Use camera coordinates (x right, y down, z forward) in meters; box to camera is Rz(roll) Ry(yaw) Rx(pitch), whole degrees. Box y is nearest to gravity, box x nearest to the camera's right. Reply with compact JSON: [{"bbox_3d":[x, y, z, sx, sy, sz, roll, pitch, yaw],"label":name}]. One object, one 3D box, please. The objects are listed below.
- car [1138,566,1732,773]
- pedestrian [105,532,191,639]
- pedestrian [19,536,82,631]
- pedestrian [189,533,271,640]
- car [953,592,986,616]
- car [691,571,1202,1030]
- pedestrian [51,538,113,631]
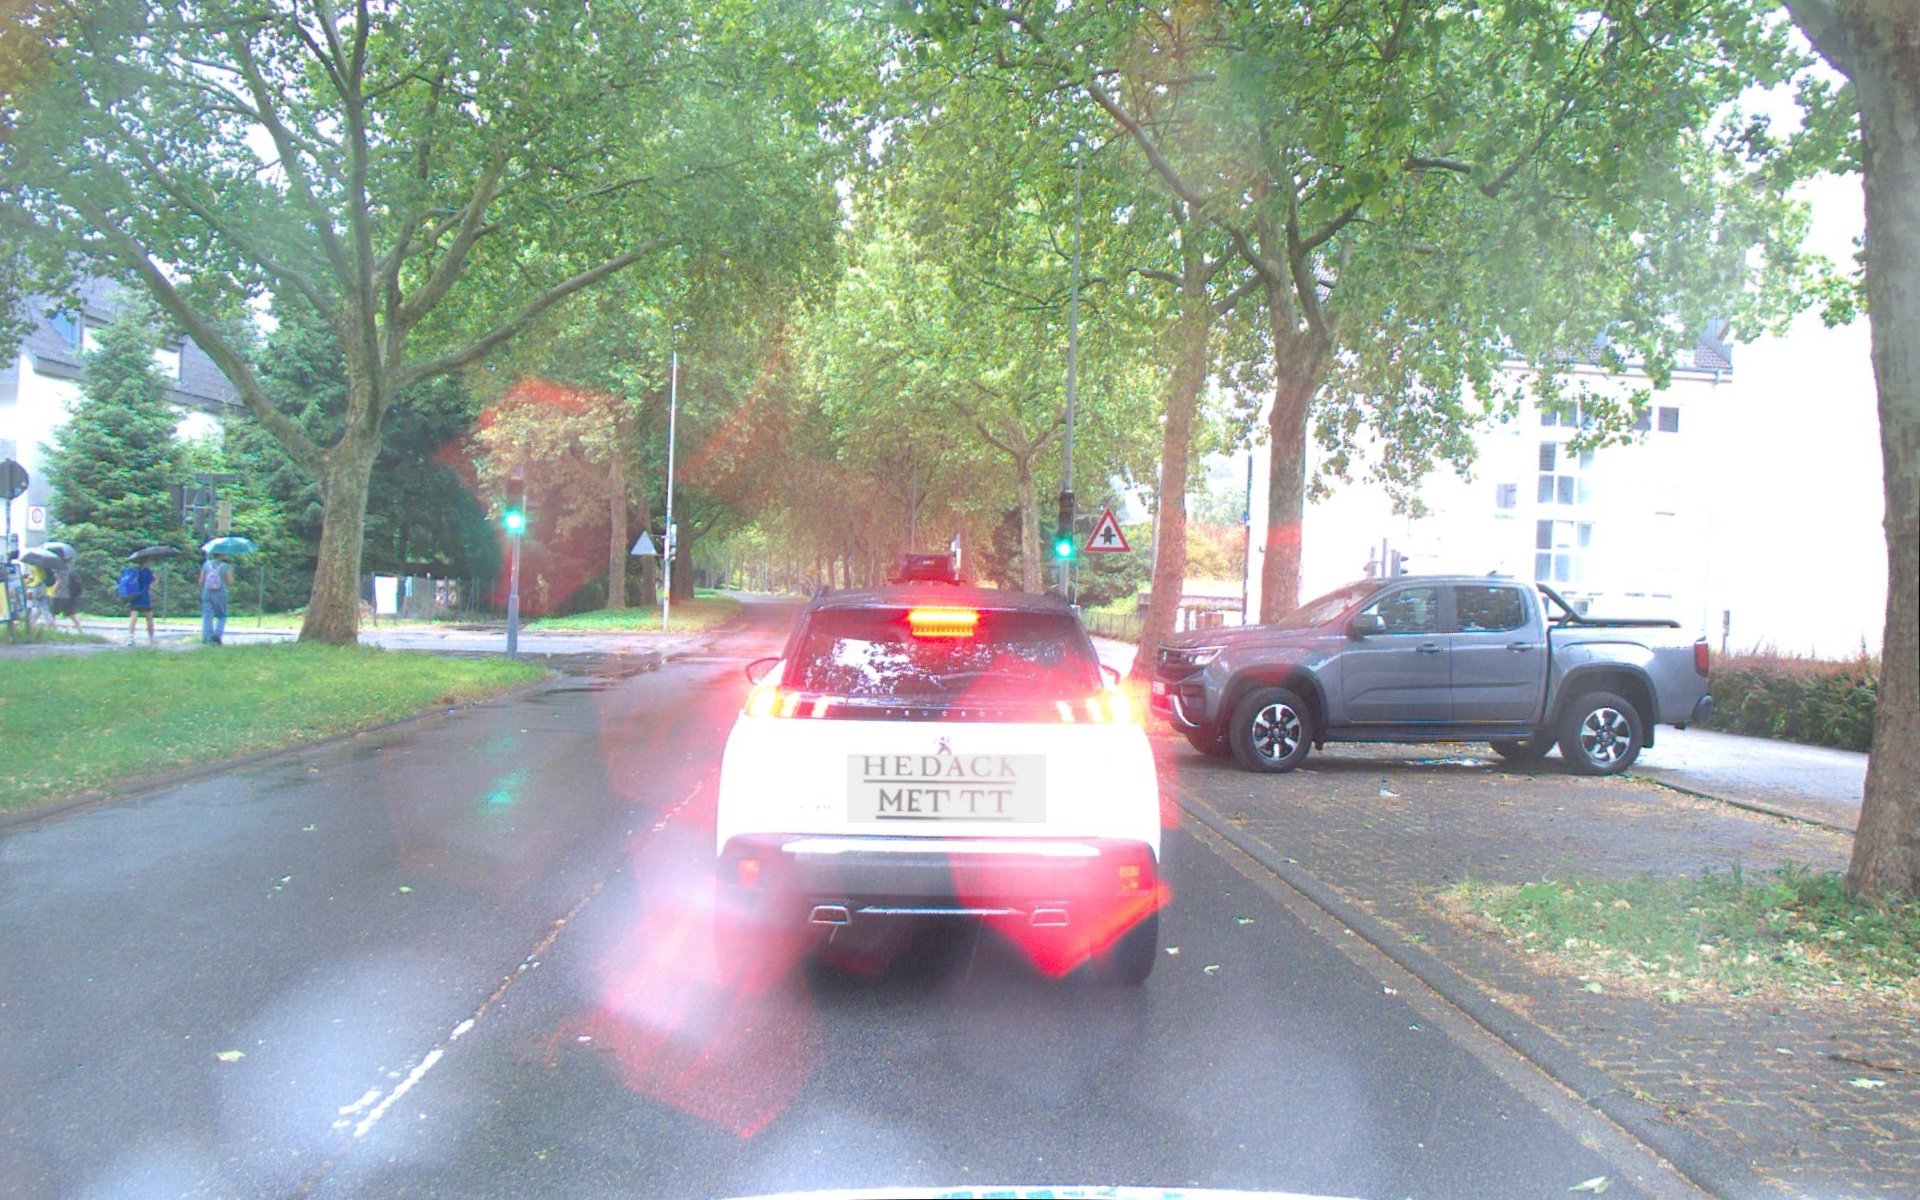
[{"bbox_3d":[4.502,0.646,16.019,5.238,1.838,1.842,1,0,-8],"label":"car"},{"bbox_3d":[-14.020,-0.243,28.584,1.012,1.796,0.879,1,0,-1],"label":"pedestrian"},{"bbox_3d":[-17.352,-0.313,31.561,0.804,1.775,0.639,2,0,-4],"label":"pedestrian"},{"bbox_3d":[-12.633,-0.233,28.658,1.012,1.796,0.838,1,0,-1],"label":"pedestrian"},{"bbox_3d":[0.611,0.275,111.732,1.868,1.536,3.927,2,0,-5],"label":"car"},{"bbox_3d":[-0.085,0.684,7.784,1.744,1.563,4.056,1,0,-1],"label":"car"},{"bbox_3d":[-17.278,-0.307,32.562,0.842,1.775,0.639,2,0,-4],"label":"pedestrian"}]
